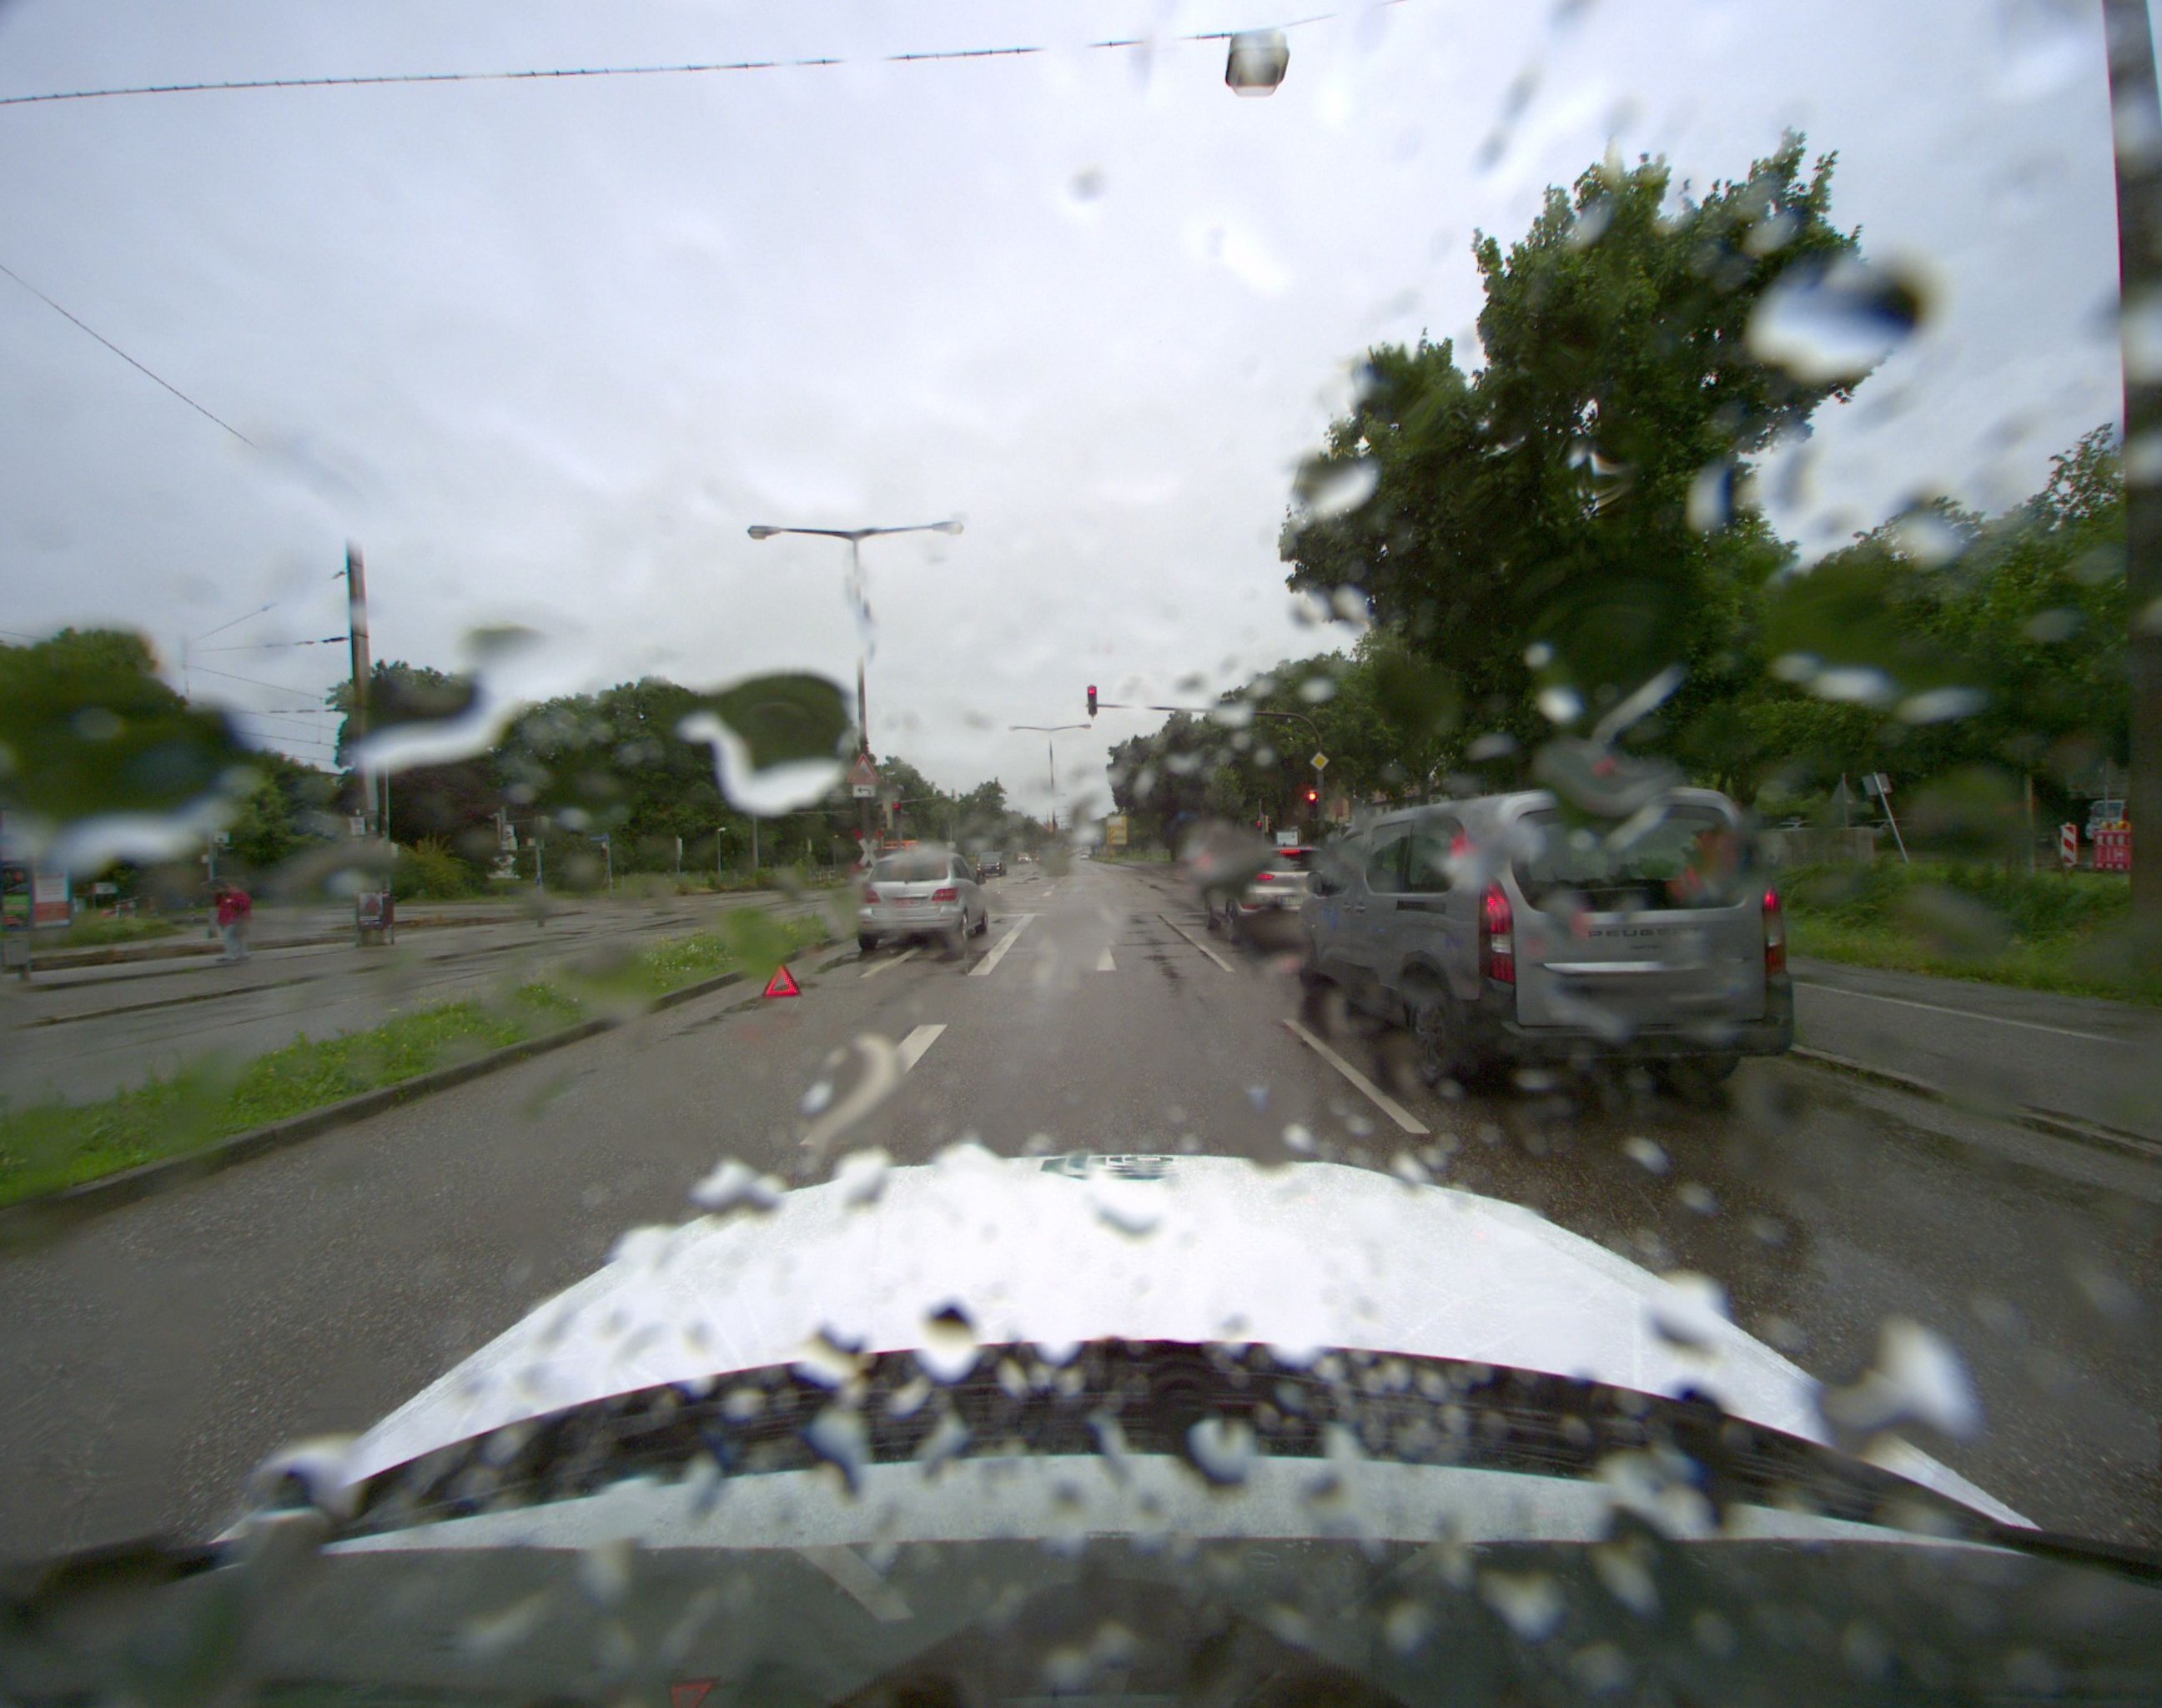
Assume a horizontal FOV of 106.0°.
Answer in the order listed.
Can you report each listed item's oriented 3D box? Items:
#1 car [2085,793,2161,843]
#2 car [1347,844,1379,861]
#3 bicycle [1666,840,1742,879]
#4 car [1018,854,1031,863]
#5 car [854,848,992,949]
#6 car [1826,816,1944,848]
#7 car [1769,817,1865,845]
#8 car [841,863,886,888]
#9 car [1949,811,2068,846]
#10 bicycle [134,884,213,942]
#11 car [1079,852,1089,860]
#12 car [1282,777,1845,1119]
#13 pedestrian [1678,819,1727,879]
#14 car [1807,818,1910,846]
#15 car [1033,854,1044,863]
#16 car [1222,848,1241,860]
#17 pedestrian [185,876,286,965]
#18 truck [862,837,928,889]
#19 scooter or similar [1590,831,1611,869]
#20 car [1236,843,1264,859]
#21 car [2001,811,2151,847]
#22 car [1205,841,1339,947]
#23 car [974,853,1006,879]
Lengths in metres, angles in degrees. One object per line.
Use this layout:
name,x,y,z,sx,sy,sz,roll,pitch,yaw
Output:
car,44.253,-1.455,32.939,4.145,1.965,1.936,-1,-1,21
car,25.841,-0.124,74.549,1.648,1.449,3.776,-1,-1,38
bicycle,18.429,0.174,24.141,0.786,1.038,1.661,-6,0,-6
car,-10.726,0.934,154.965,1.887,1.611,4.500,-2,0,1
car,-2.739,0.717,15.011,1.731,1.544,4.012,-2,0,-1
car,43.768,-1.181,44.380,4.571,1.630,1.925,0,-1,-1
car,44.995,-1.386,49.833,4.584,1.583,1.920,0,-1,-9
car,-16.020,1.563,60.217,1.986,1.709,4.527,0,-1,1
car,44.222,-1.209,38.874,3.642,1.597,1.721,0,-1,2
bicycle,-30.349,1.948,27.272,0.637,1.761,1.735,-2,0,1
car,0.695,0.381,164.650,1.900,1.515,4.000,-2,0,1
car,3.116,0.514,6.611,1.986,1.795,4.564,-1,0,2
pedestrian,18.395,-0.143,24.114,0.786,1.678,0.668,-6,0,-6
car,44.863,-1.254,47.031,4.584,1.583,1.920,0,-1,-9
car,-8.037,0.878,155.576,1.796,1.569,4.427,-4,-1,-1
car,20.349,0.024,110.045,1.633,1.486,4.069,0,-1,-2
pedestrian,-16.601,1.287,16.020,0.921,1.675,0.997,0,-1,1
truck,-15.921,0.802,70.711,3.374,4.167,10.403,0,-1,0
scooter or similar,16.226,-0.122,25.440,0.284,1.176,0.561,-2,0,7
car,19.888,-0.340,96.076,1.988,1.717,4.874,-3,0,-2
car,43.852,-1.063,35.961,4.164,1.489,1.927,0,-1,2
car,3.241,0.632,14.577,1.874,1.610,4.203,-1,-1,7
car,-6.889,0.850,61.908,1.800,1.773,5.088,-3,0,0
